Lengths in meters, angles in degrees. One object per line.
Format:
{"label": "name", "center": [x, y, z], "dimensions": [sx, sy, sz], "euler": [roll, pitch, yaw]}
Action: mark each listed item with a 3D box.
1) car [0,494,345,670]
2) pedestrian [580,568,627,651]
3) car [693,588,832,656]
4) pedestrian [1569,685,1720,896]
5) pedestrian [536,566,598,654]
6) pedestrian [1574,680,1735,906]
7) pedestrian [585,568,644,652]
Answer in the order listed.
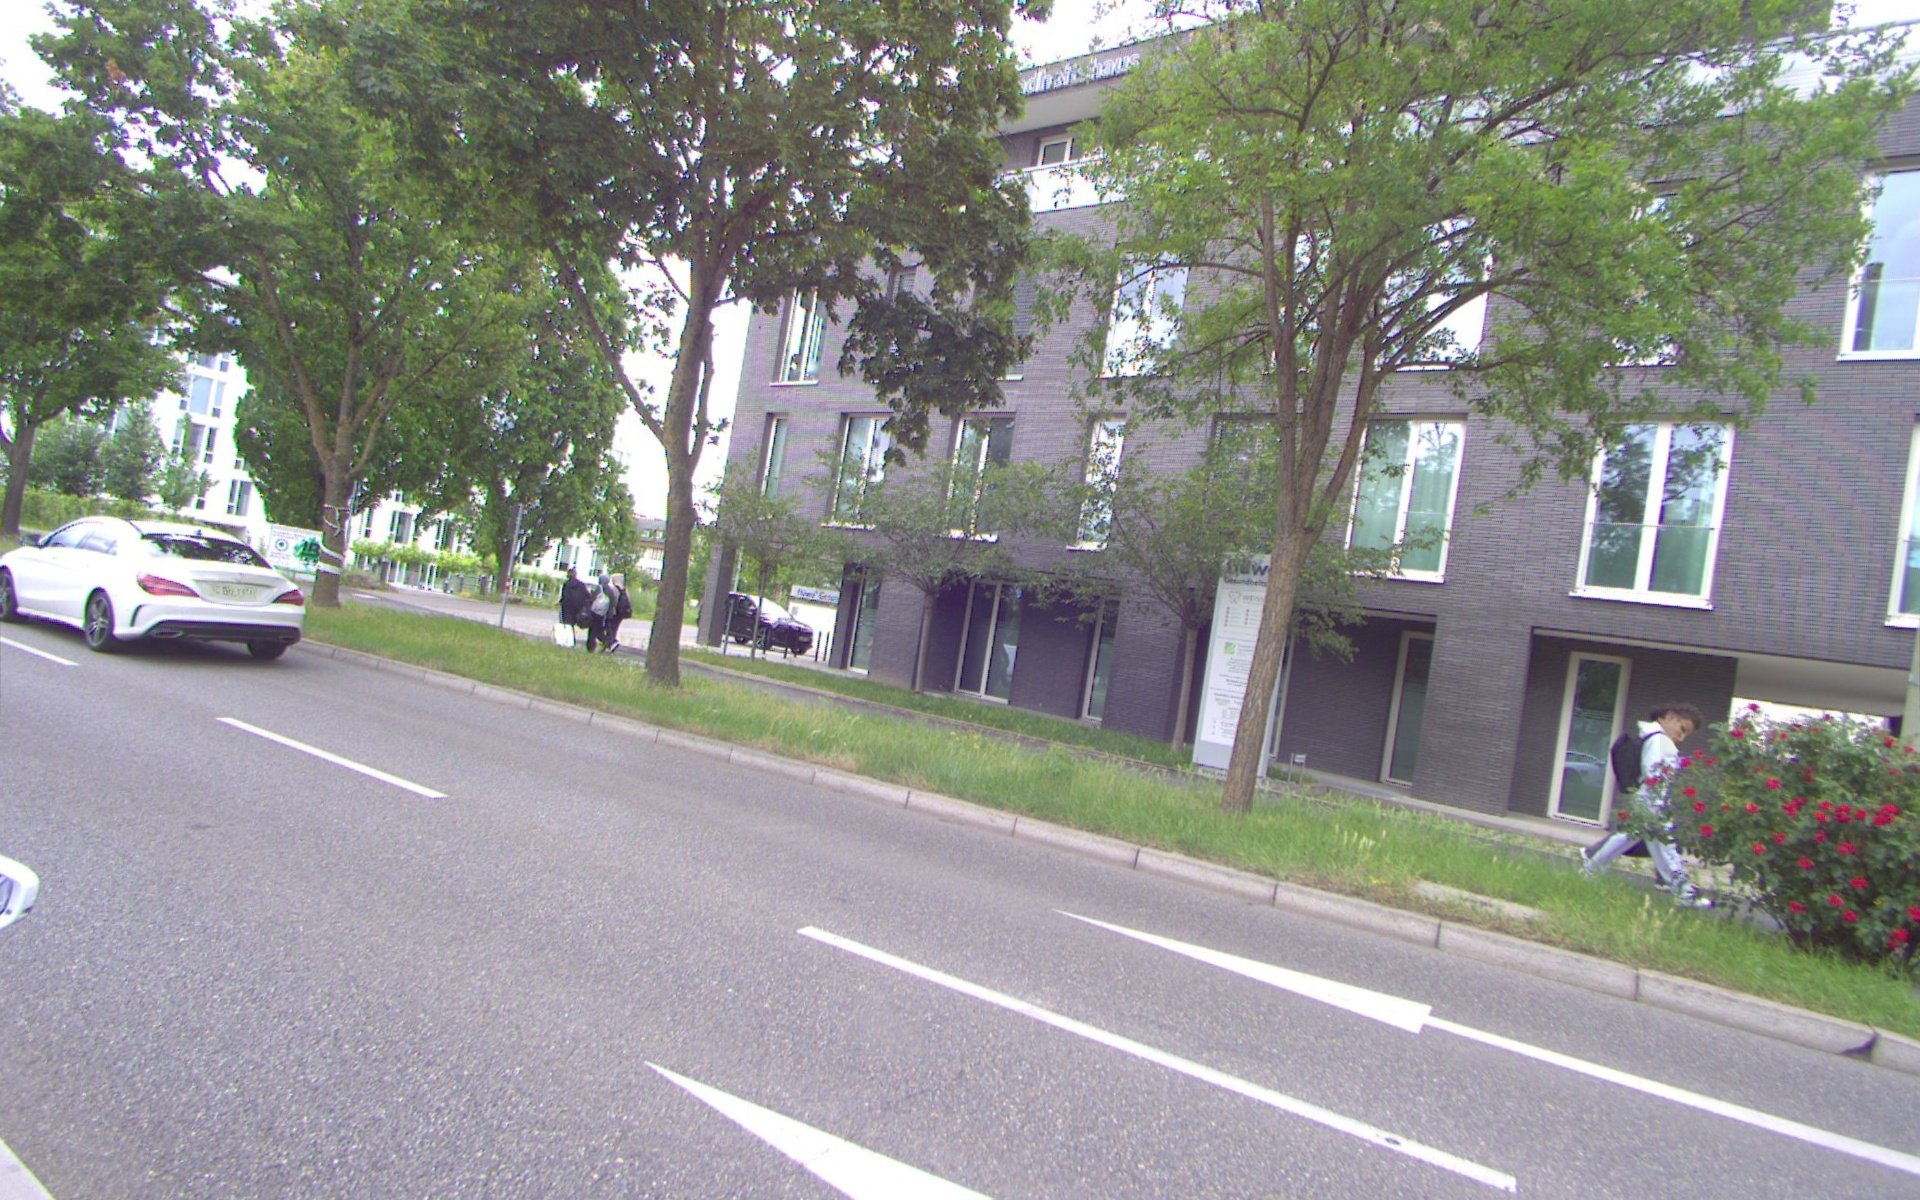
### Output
{"label": "car", "center": [-9.606, -0.259, 11.867], "dimensions": [4.618, 1.489, 1.799], "euler": [7, -3, 28]}
{"label": "pedestrian", "center": [-7.067, 0.181, 19.951], "dimensions": [0.553, 1.568, 0.410], "euler": [6, -4, 37]}
{"label": "car", "center": [-6.302, 0.694, 32.028], "dimensions": [4.112, 1.569, 1.828], "euler": [7, -2, 34]}
{"label": "pedestrian", "center": [6.606, 1.807, 9.765], "dimensions": [0.938, 1.796, 0.609], "euler": [10, 0, 32]}
{"label": "pedestrian", "center": [-7.539, 0.193, 19.321], "dimensions": [0.578, 1.570, 0.726], "euler": [7, -2, 37]}
{"label": "pedestrian", "center": [6.295, 1.718, 9.181], "dimensions": [0.938, 1.796, 0.609], "euler": [10, 0, 32]}
{"label": "pedestrian", "center": [-6.973, 0.198, 20.309], "dimensions": [0.732, 1.569, 0.590], "euler": [7, -3, 37]}
